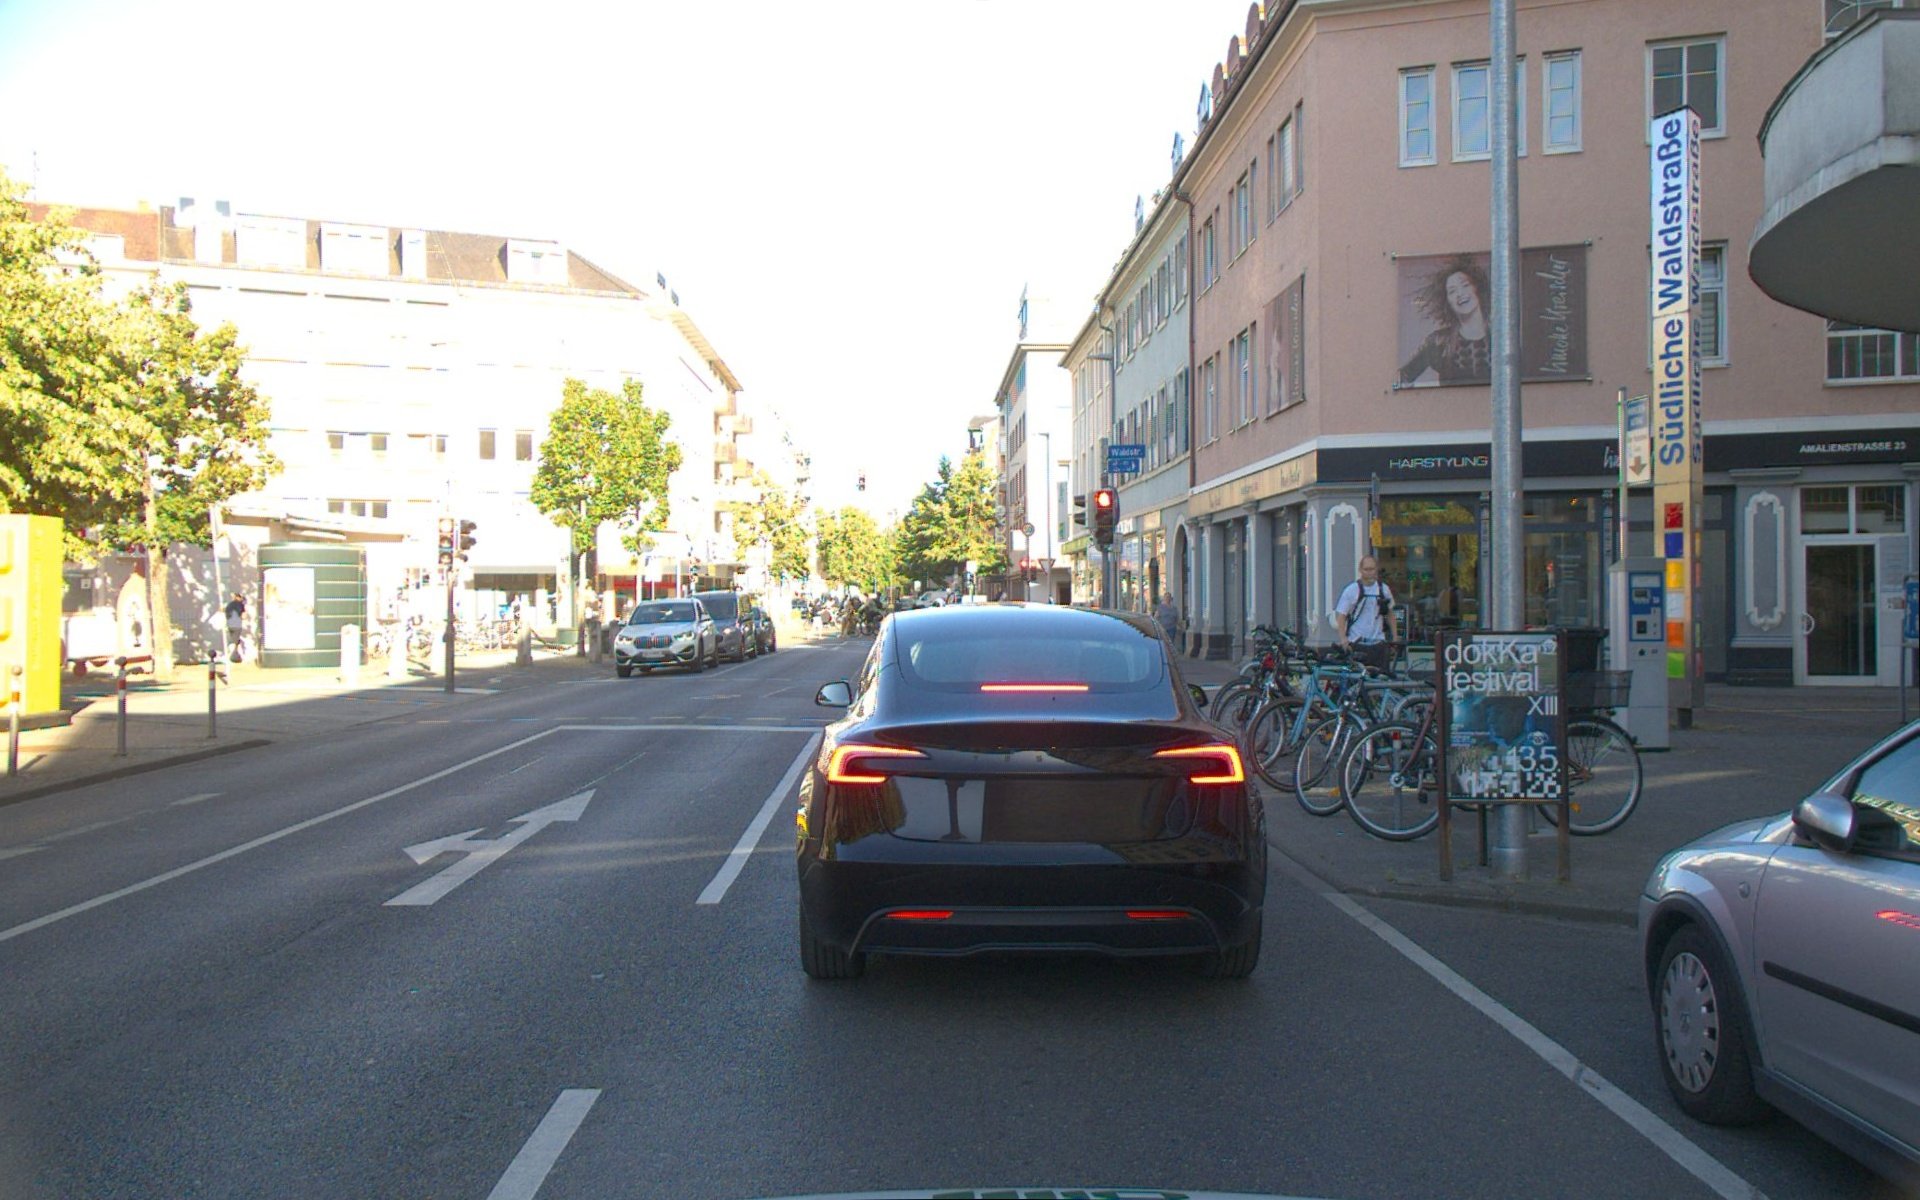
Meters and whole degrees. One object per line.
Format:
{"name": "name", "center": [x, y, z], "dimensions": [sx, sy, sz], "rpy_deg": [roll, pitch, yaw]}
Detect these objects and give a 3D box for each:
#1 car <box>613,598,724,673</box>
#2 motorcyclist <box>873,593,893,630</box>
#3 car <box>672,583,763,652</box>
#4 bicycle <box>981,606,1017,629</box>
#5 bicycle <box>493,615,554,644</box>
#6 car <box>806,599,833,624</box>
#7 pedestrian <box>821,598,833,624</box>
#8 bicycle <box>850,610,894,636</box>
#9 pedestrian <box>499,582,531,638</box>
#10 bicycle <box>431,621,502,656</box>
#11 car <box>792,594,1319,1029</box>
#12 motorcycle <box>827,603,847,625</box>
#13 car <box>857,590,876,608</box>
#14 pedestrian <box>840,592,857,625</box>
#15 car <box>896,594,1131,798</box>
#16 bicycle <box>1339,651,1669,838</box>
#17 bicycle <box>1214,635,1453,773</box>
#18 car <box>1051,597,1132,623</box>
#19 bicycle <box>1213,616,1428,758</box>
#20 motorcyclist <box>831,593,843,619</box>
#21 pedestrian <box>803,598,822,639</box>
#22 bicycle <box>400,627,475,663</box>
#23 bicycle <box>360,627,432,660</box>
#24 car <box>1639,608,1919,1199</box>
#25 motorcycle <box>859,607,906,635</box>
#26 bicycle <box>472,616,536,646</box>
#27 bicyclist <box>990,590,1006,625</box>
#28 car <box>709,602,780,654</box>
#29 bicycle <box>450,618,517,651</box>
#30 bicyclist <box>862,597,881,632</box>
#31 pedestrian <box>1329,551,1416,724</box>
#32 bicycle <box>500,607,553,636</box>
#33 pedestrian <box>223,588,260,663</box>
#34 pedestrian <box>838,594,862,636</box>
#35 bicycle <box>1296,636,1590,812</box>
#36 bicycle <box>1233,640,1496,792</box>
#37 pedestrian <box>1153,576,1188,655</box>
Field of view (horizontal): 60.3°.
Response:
{"name": "car", "center": [-6.293, 0.742, 36.068], "dimensions": [1.752, 1.485, 3.756], "rpy_deg": [-2, 0, -1]}
{"name": "motorcyclist", "center": [-3.266, 0.499, 69.855], "dimensions": [0.709, 1.554, 0.513], "rpy_deg": [0, 0, -21]}
{"name": "car", "center": [-6.160, 0.413, 42.460], "dimensions": [1.751, 1.675, 4.401], "rpy_deg": [0, 0, -1]}
{"name": "bicycle", "center": [1.720, 0.778, 73.457], "dimensions": [1.536, 1.030, 0.480], "rpy_deg": [1, -1, -25]}
{"name": "bicycle", "center": [-14.366, 0.977, 54.449], "dimensions": [1.826, 0.950, 0.606], "rpy_deg": [0, 0, -2]}
{"name": "car", "center": [-9.157, 0.717, 107.953], "dimensions": [1.673, 1.579, 3.692], "rpy_deg": [0, 0, -6]}
{"name": "pedestrian", "center": [-7.365, 0.600, 91.654], "dimensions": [0.516, 1.447, 0.474], "rpy_deg": [1, -1, -31]}
{"name": "bicycle", "center": [-3.636, 0.945, 68.153], "dimensions": [1.756, 1.024, 0.469], "rpy_deg": [1, -1, -17]}
{"name": "pedestrian", "center": [-16.600, 0.386, 61.647], "dimensions": [1.041, 2.049, 1.049], "rpy_deg": [1, -1, -20]}
{"name": "bicycle", "center": [-14.028, 1.085, 47.041], "dimensions": [1.826, 0.950, 0.606], "rpy_deg": [1, 0, -2]}
{"name": "car", "center": [0.299, 0.724, 7.600], "dimensions": [1.785, 1.467, 3.999], "rpy_deg": [0, 0, -1]}
{"name": "motorcycle", "center": [-6.235, 0.695, 83.976], "dimensions": [0.970, 1.105, 0.351], "rpy_deg": [1, -1, -38]}
{"name": "car", "center": [-10.550, -0.090, 186.979], "dimensions": [1.953, 2.049, 3.999], "rpy_deg": [1, 0, -1]}
{"name": "pedestrian", "center": [-6.178, 0.471, 91.613], "dimensions": [0.666, 1.820, 0.703], "rpy_deg": [1, -1, -36]}
{"name": "car", "center": [0.317, 0.688, 13.782], "dimensions": [1.683, 1.450, 3.755], "rpy_deg": [0, 0, -2]}
{"name": "bicycle", "center": [3.263, 0.867, 10.004], "dimensions": [1.833, 1.056, 0.353], "rpy_deg": [-2, -1, 6]}
{"name": "bicycle", "center": [3.062, 0.851, 13.666], "dimensions": [1.833, 1.056, 0.548], "rpy_deg": [-2, -1, 5]}
{"name": "car", "center": [7.040, 0.509, 88.819], "dimensions": [3.930, 1.378, 1.897], "rpy_deg": [0, 0, -22]}
{"name": "bicycle", "center": [3.205, 0.769, 14.788], "dimensions": [1.789, 1.189, 0.506], "rpy_deg": [-2, -1, 5]}
{"name": "motorcyclist", "center": [-6.245, 0.304, 83.964], "dimensions": [0.486, 1.275, 0.350], "rpy_deg": [1, -1, -38]}
{"name": "pedestrian", "center": [-5.703, 0.710, 64.117], "dimensions": [0.612, 1.565, 0.511], "rpy_deg": [1, -1, -19]}
{"name": "bicycle", "center": [-14.204, 1.214, 44.973], "dimensions": [1.826, 0.950, 0.606], "rpy_deg": [1, 0, -2]}
{"name": "bicycle", "center": [-14.449, 1.110, 42.395], "dimensions": [1.612, 0.806, 0.606], "rpy_deg": [1, 0, -5]}
{"name": "car", "center": [2.911, 0.770, 3.501], "dimensions": [1.515, 1.414, 3.477], "rpy_deg": [0, 1, 0]}
{"name": "motorcycle", "center": [-3.279, 0.882, 69.861], "dimensions": [1.899, 1.130, 0.515], "rpy_deg": [0, 0, -21]}
{"name": "bicycle", "center": [-14.330, 0.968, 52.001], "dimensions": [1.826, 0.950, 0.606], "rpy_deg": [0, 0, -2]}
{"name": "bicyclist", "center": [1.685, 0.339, 73.442], "dimensions": [0.516, 1.530, 0.472], "rpy_deg": [1, -1, -25]}
{"name": "car", "center": [-6.441, 0.812, 49.807], "dimensions": [1.680, 1.471, 3.844], "rpy_deg": [1, 0, -1]}
{"name": "bicycle", "center": [-14.265, 1.031, 49.511], "dimensions": [1.826, 0.950, 0.606], "rpy_deg": [1, 0, -2]}
{"name": "bicyclist", "center": [-3.640, 0.588, 68.149], "dimensions": [0.659, 1.420, 0.460], "rpy_deg": [1, -1, -17]}
{"name": "pedestrian", "center": [4.405, 0.397, 17.706], "dimensions": [0.735, 1.796, 0.837], "rpy_deg": [1, -1, 3]}
{"name": "bicycle", "center": [-20.339, 1.020, 77.588], "dimensions": [2.334, 1.318, 0.509], "rpy_deg": [1, -1, -27]}
{"name": "pedestrian", "center": [-17.089, 0.602, 39.348], "dimensions": [0.465, 1.746, 0.711], "rpy_deg": [1, -1, 8]}
{"name": "pedestrian", "center": [-4.396, 0.604, 66.184], "dimensions": [0.742, 1.660, 0.951], "rpy_deg": [1, -1, -18]}
{"name": "bicycle", "center": [3.246, 0.830, 11.194], "dimensions": [1.834, 1.106, 0.414], "rpy_deg": [-2, -1, 3]}
{"name": "bicycle", "center": [3.030, 0.866, 12.503], "dimensions": [1.834, 1.056, 0.533], "rpy_deg": [-2, -1, 3]}
{"name": "pedestrian", "center": [4.738, 0.344, 37.239], "dimensions": [0.692, 1.773, 0.540], "rpy_deg": [0, 0, -1]}
